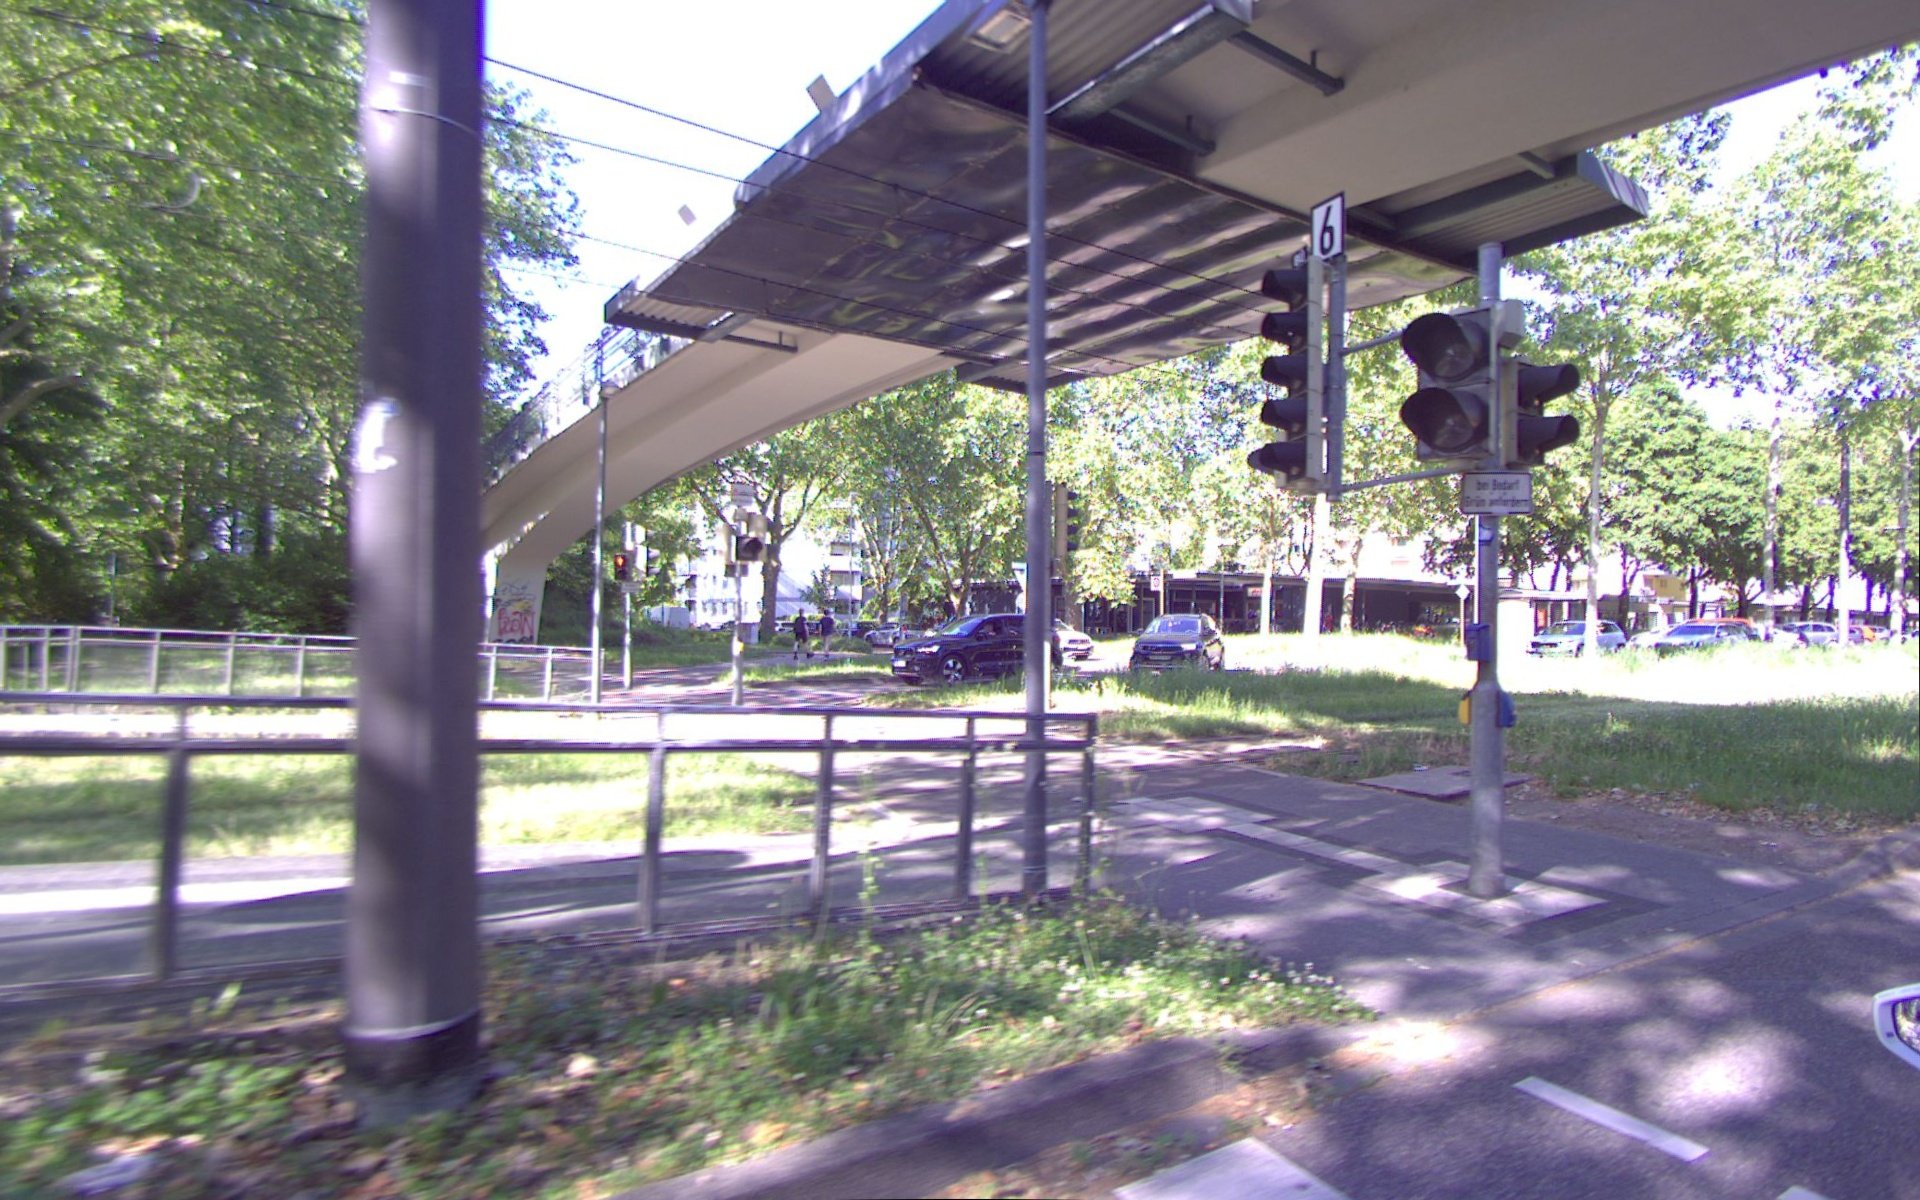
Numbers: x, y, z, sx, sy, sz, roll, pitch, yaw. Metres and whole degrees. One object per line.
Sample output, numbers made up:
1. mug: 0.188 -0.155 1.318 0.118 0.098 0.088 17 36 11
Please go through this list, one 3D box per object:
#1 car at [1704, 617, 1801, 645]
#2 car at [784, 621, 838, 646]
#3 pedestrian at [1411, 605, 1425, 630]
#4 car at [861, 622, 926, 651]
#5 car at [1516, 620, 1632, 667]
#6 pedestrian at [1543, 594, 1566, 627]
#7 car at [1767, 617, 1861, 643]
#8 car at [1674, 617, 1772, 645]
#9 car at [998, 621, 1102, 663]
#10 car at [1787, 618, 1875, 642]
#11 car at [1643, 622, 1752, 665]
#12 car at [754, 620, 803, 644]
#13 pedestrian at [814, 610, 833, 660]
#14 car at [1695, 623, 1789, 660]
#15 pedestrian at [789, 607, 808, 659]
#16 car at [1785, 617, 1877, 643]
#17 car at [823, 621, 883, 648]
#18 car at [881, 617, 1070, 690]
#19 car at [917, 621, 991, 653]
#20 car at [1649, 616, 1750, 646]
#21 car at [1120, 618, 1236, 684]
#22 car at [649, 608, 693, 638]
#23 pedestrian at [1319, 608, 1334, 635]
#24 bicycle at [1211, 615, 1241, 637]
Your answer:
1. car: 45.037 1.749 57.183 3.919 1.530 1.801 0 -1 14
2. car: -9.405 2.076 63.392 1.782 1.530 3.960 1 -1 -35
3. pedestrian: 31.549 1.216 69.156 0.644 1.683 0.644 1 -1 -35
4. car: -3.686 1.970 55.330 1.782 1.530 3.960 1 -1 -35
5. car: 22.218 1.530 36.311 4.237 1.601 1.786 1 -1 -30
6. pedestrian: 26.538 0.481 44.829 0.642 1.479 0.645 1 -1 -28
7. car: 51.297 1.800 60.432 3.919 1.530 1.801 0 -1 14
8. car: 41.864 1.692 55.199 3.919 1.530 1.801 0 -1 14
9. car: 3.429 1.576 38.880 1.783 1.530 4.046 1 -1 -36
10. car: 56.249 1.936 64.930 3.919 1.530 1.801 0 -1 14
11. car: 27.808 1.605 37.838 4.624 1.530 1.784 1 -1 -33
12. car: -12.279 2.149 67.840 1.782 1.530 3.960 1 -1 -35
13. pedestrian: -4.768 1.207 35.120 0.638 1.728 0.649 0 -1 -9
14. car: 33.458 1.742 42.958 3.951 1.530 1.787 1 -1 -29
15. pedestrian: -5.628 1.151 35.044 0.638 1.807 0.649 0 -1 -9
16. car: 54.237 1.859 62.607 3.919 1.530 1.801 0 -1 14
17. car: -6.323 2.011 59.167 1.782 1.530 3.960 1 -1 -35
18. car: 0.408 1.201 23.669 4.244 1.587 1.783 1 -1 -34
19. car: -0.334 1.827 50.561 1.782 1.530 3.960 1 -1 -35
20. car: 39.243 1.649 53.390 3.919 1.530 1.801 0 -1 14
21. car: 5.844 1.281 26.517 1.768 1.587 4.279 0 -1 30
22. car: -24.476 1.939 84.997 2.042 2.468 4.959 1 -1 -35
23. pedestrian: 22.855 1.360 62.606 0.644 1.683 0.644 1 -1 -35
24. bicycle: 13.786 1.327 52.052 1.785 1.122 0.550 1 -1 -39
